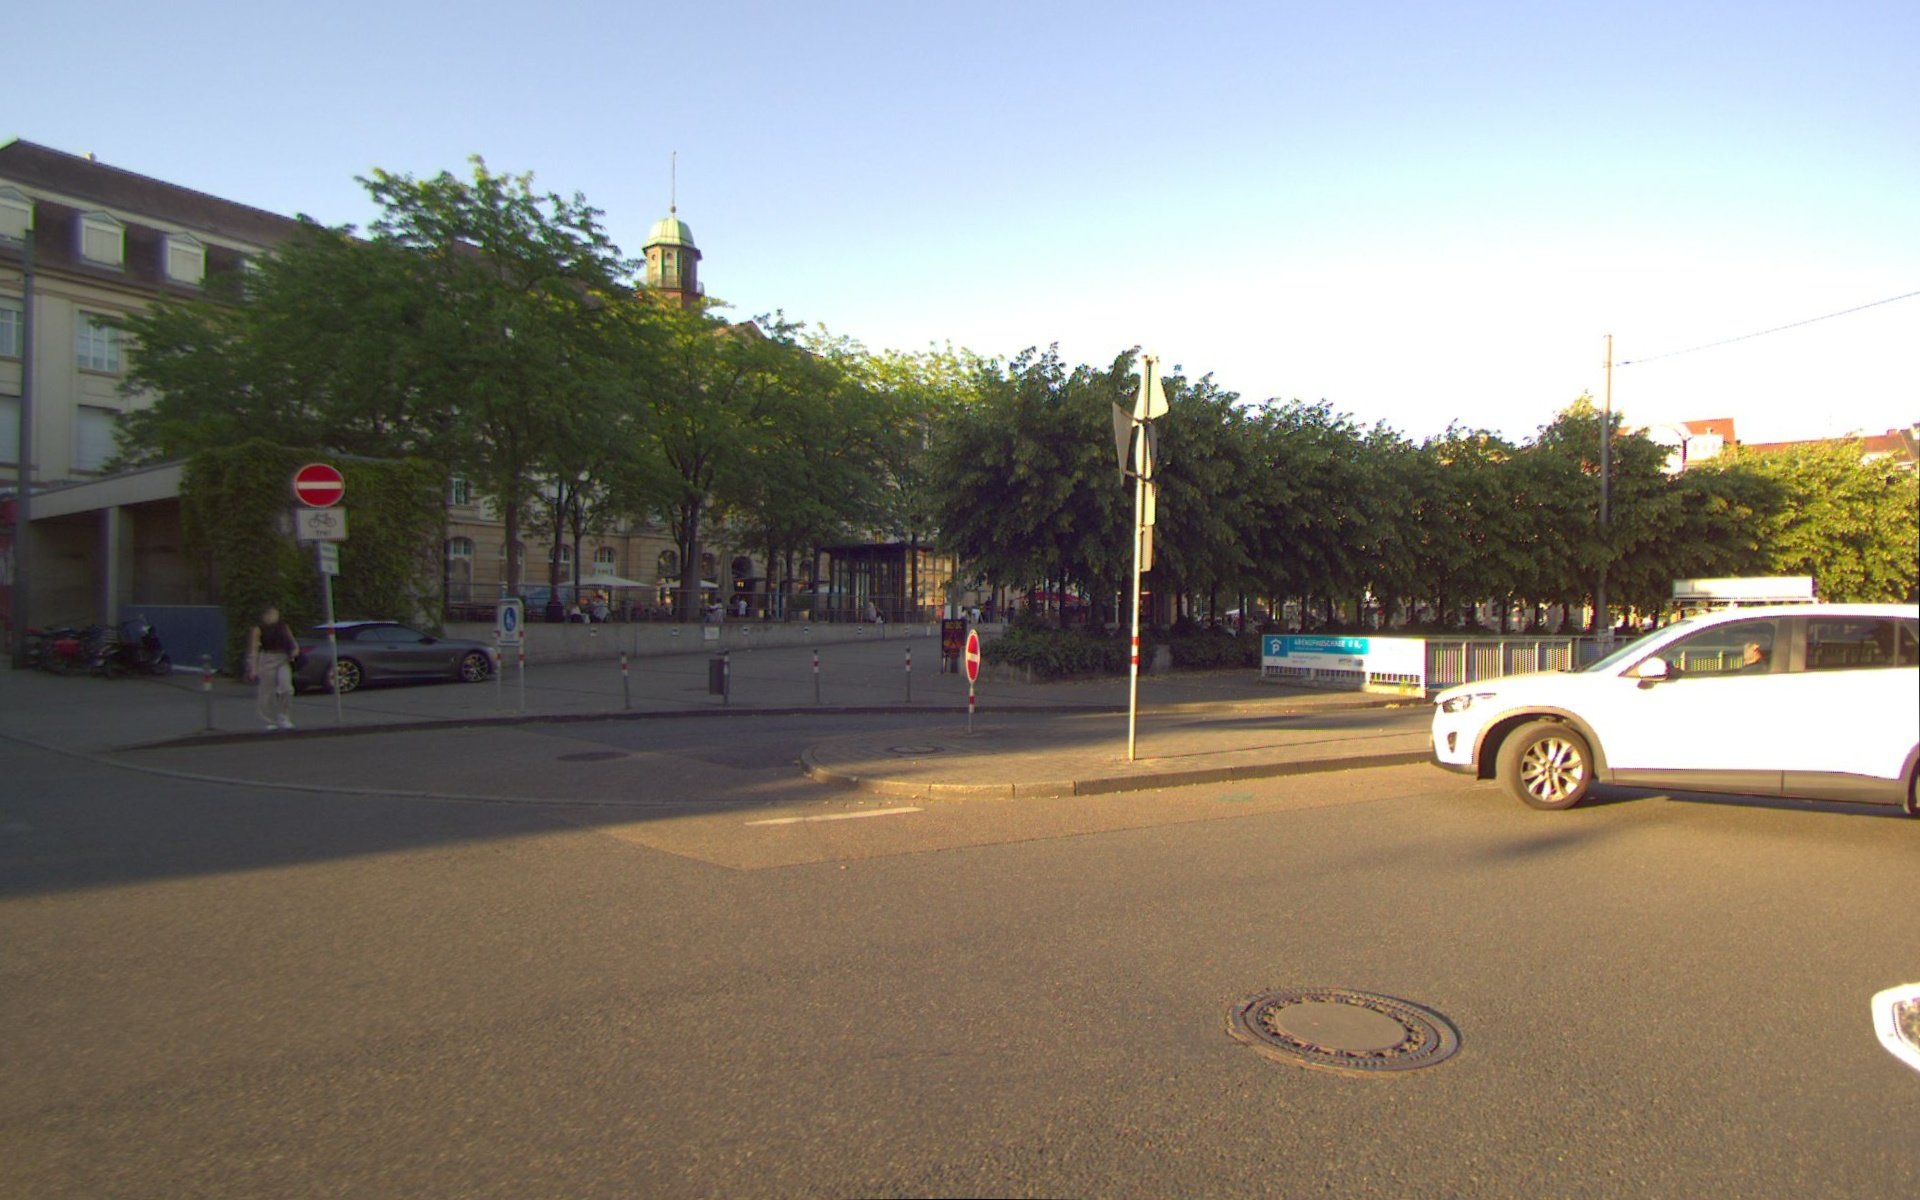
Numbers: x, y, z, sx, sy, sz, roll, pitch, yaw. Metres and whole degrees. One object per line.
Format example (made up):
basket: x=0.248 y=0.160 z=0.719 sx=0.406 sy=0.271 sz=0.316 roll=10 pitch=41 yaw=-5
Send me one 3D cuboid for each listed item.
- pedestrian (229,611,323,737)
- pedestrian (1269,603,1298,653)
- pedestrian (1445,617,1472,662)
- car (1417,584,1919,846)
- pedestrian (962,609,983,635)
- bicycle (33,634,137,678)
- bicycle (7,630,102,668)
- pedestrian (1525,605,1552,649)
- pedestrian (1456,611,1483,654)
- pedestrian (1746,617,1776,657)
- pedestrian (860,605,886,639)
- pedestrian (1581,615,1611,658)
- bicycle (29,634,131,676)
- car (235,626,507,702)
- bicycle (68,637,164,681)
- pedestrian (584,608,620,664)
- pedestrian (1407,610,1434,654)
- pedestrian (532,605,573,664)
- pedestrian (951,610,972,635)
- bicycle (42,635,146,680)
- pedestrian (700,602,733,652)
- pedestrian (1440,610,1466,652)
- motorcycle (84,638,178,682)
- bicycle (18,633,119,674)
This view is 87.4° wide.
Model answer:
pedestrian: x=-9.015 y=0.939 z=13.239 sx=0.885 sy=1.587 sz=0.765 roll=-1 pitch=-1 yaw=34
pedestrian: x=10.682 y=0.905 z=33.208 sx=0.693 sy=1.616 sz=0.673 roll=1 pitch=0 yaw=41
pedestrian: x=18.306 y=1.438 z=36.904 sx=0.558 sy=1.616 sz=0.678 roll=1 pitch=0 yaw=-11
car: x=6.312 y=0.805 z=8.239 sx=4.392 sy=1.784 sz=1.993 roll=0 pitch=-1 yaw=36
pedestrian: x=0.554 y=0.954 z=44.540 sx=0.703 sy=1.134 sz=0.609 roll=0 pitch=-1 yaw=34
bicycle: x=-20.757 y=1.309 z=23.860 sx=0.501 sy=0.935 sz=1.802 roll=0 pitch=0 yaw=28
bicycle: x=-23.607 y=1.265 z=26.219 sx=1.776 sy=0.935 sz=0.509 roll=0 pitch=0 yaw=-18
pedestrian: x=21.484 y=0.998 z=37.305 sx=0.558 sy=1.616 sz=0.678 roll=1 pitch=0 yaw=-11
pedestrian: x=19.458 y=1.251 z=38.371 sx=0.558 sy=1.616 sz=0.791 roll=1 pitch=0 yaw=-11
pedestrian: x=32.798 y=1.496 z=41.127 sx=0.558 sy=1.616 sz=0.791 roll=1 pitch=0 yaw=-11
pedestrian: x=-3.407 y=0.870 z=39.457 sx=0.778 sy=1.296 sz=0.652 roll=0 pitch=-2 yaw=34
pedestrian: x=24.154 y=1.387 z=38.162 sx=0.665 sy=1.616 sz=0.678 roll=1 pitch=0 yaw=-11
bicycle: x=-21.256 y=1.308 z=24.297 sx=0.501 sy=0.935 sz=1.802 roll=0 pitch=0 yaw=28
car: x=-12.028 y=1.238 z=20.862 sx=1.964 sy=1.335 sz=4.521 roll=-1 pitch=-1 yaw=28
bicycle: x=-19.368 y=1.336 z=23.101 sx=0.500 sy=0.892 sz=1.805 roll=0 pitch=0 yaw=9
pedestrian: x=-10.392 y=1.041 z=29.161 sx=0.612 sy=1.607 sz=0.699 roll=0 pitch=-2 yaw=36
pedestrian: x=17.141 y=1.198 z=37.378 sx=0.558 sy=1.616 sz=0.791 roll=1 pitch=0 yaw=-11
pedestrian: x=-11.330 y=0.968 z=27.945 sx=0.679 sy=1.607 sz=0.767 roll=0 pitch=-2 yaw=36
pedestrian: x=0.066 y=0.982 z=43.902 sx=0.703 sy=1.073 sz=0.609 roll=0 pitch=-1 yaw=34
bicycle: x=-20.199 y=1.320 z=23.478 sx=0.501 sy=0.935 sz=1.803 roll=0 pitch=0 yaw=25
pedestrian: x=-7.929 y=0.882 z=32.650 sx=0.778 sy=1.607 sz=0.652 roll=0 pitch=-2 yaw=34
pedestrian: x=19.324 y=1.222 z=39.385 sx=0.558 sy=1.616 sz=0.791 roll=1 pitch=0 yaw=-11
motorcycle: x=-18.569 y=1.327 z=22.555 sx=0.500 sy=0.892 sz=1.805 roll=0 pitch=0 yaw=6
bicycle: x=-21.955 y=1.303 z=24.764 sx=0.503 sy=0.935 sz=1.797 roll=0 pitch=0 yaw=38
